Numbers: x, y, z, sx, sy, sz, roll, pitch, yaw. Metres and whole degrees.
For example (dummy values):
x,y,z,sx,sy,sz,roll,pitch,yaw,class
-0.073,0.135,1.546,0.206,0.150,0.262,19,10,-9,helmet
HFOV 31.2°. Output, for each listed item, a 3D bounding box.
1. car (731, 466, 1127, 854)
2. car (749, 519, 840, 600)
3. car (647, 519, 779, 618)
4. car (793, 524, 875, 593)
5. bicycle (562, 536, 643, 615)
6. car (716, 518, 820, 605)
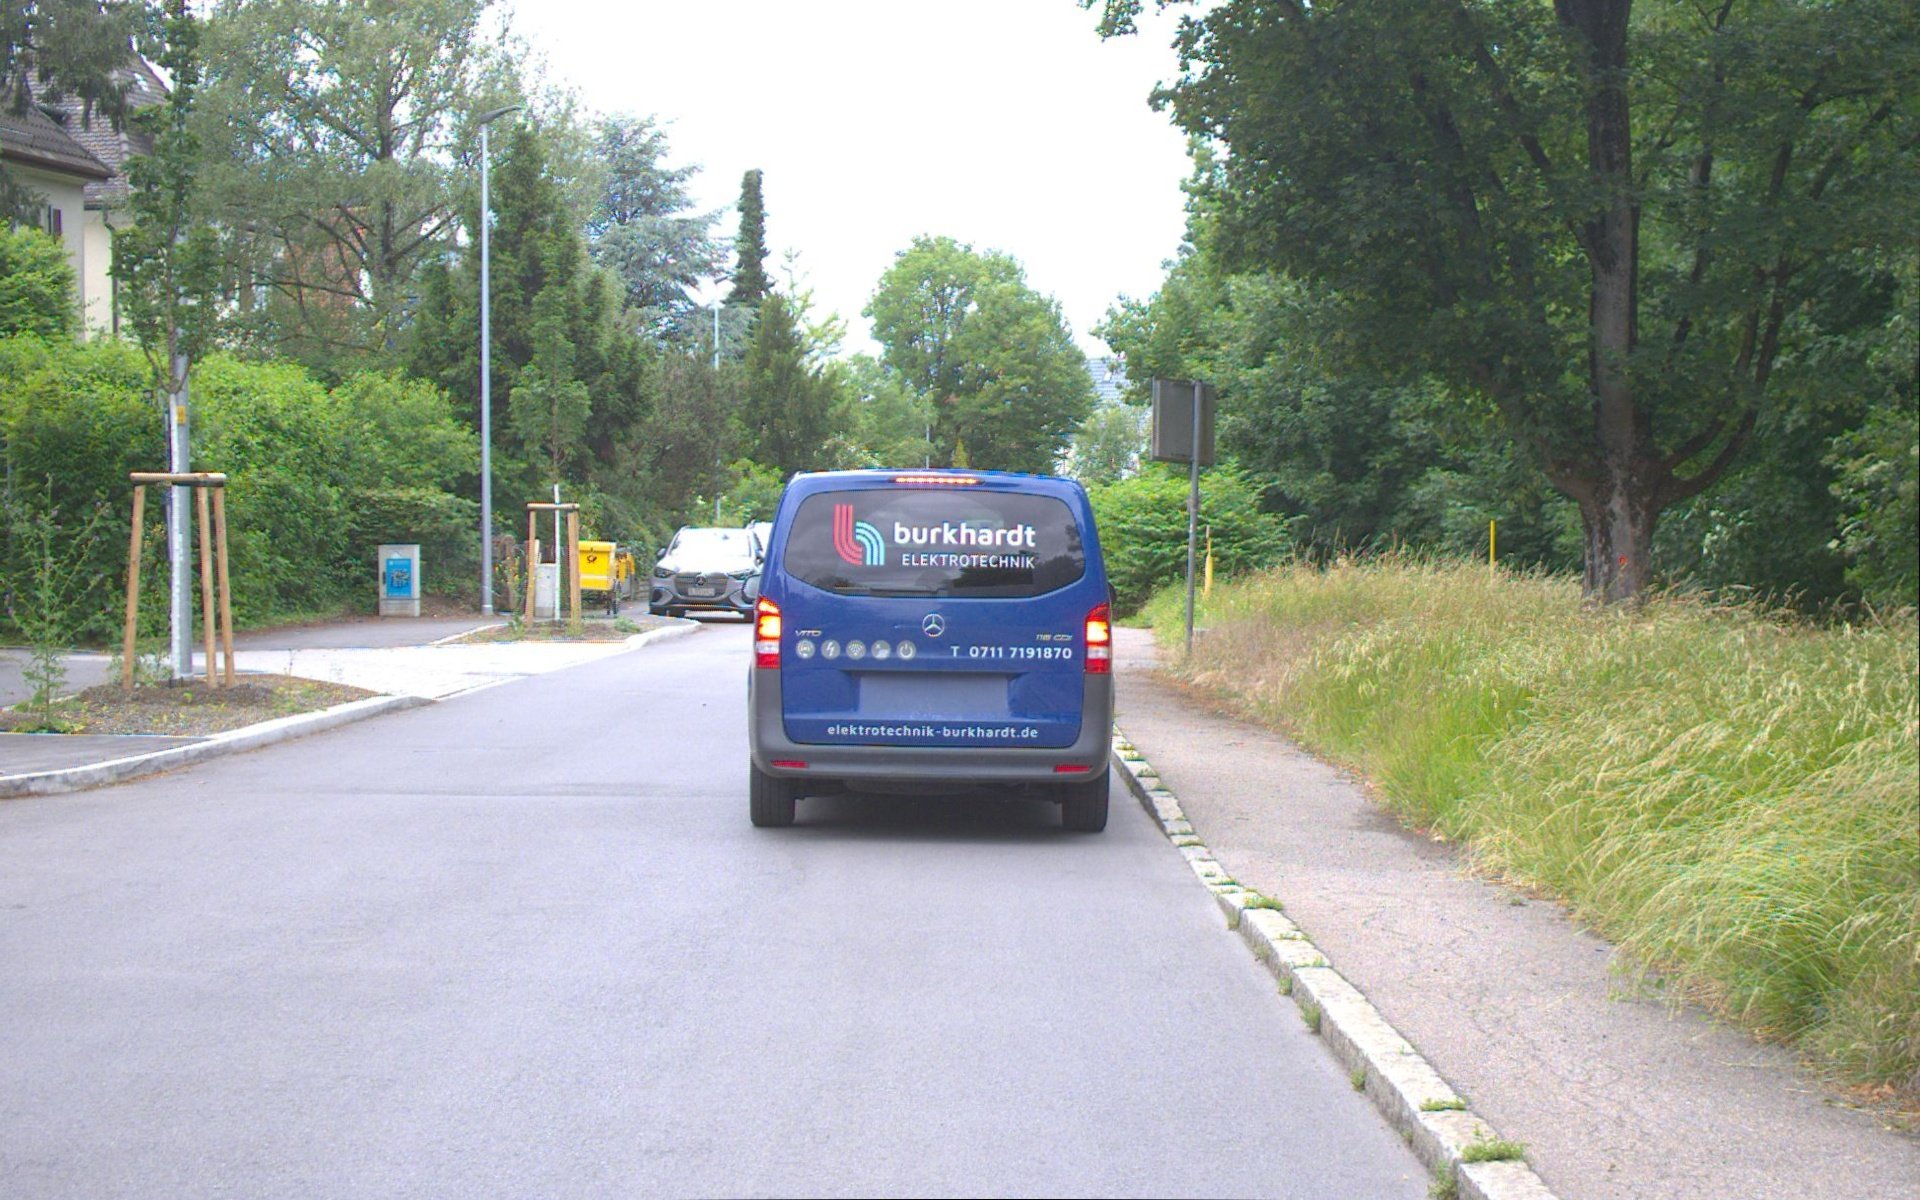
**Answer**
x,y,z,sx,sy,sz,roll,pitch,yaw,class
-0.240,0.221,18.896,1.888,1.837,4.001,2,2,-3,car
-3.793,-0.932,79.406,1.831,1.798,4.000,1,0,1,car
-4.302,-0.571,60.346,1.836,1.625,4.300,2,1,2,car
-3.448,-1.167,94.880,1.892,1.686,4.549,2,3,2,car
-5.963,-0.417,57.461,0.906,1.247,2.916,3,1,2,bicycle
-4.057,-0.849,73.245,1.832,1.745,4.000,2,2,2,car
